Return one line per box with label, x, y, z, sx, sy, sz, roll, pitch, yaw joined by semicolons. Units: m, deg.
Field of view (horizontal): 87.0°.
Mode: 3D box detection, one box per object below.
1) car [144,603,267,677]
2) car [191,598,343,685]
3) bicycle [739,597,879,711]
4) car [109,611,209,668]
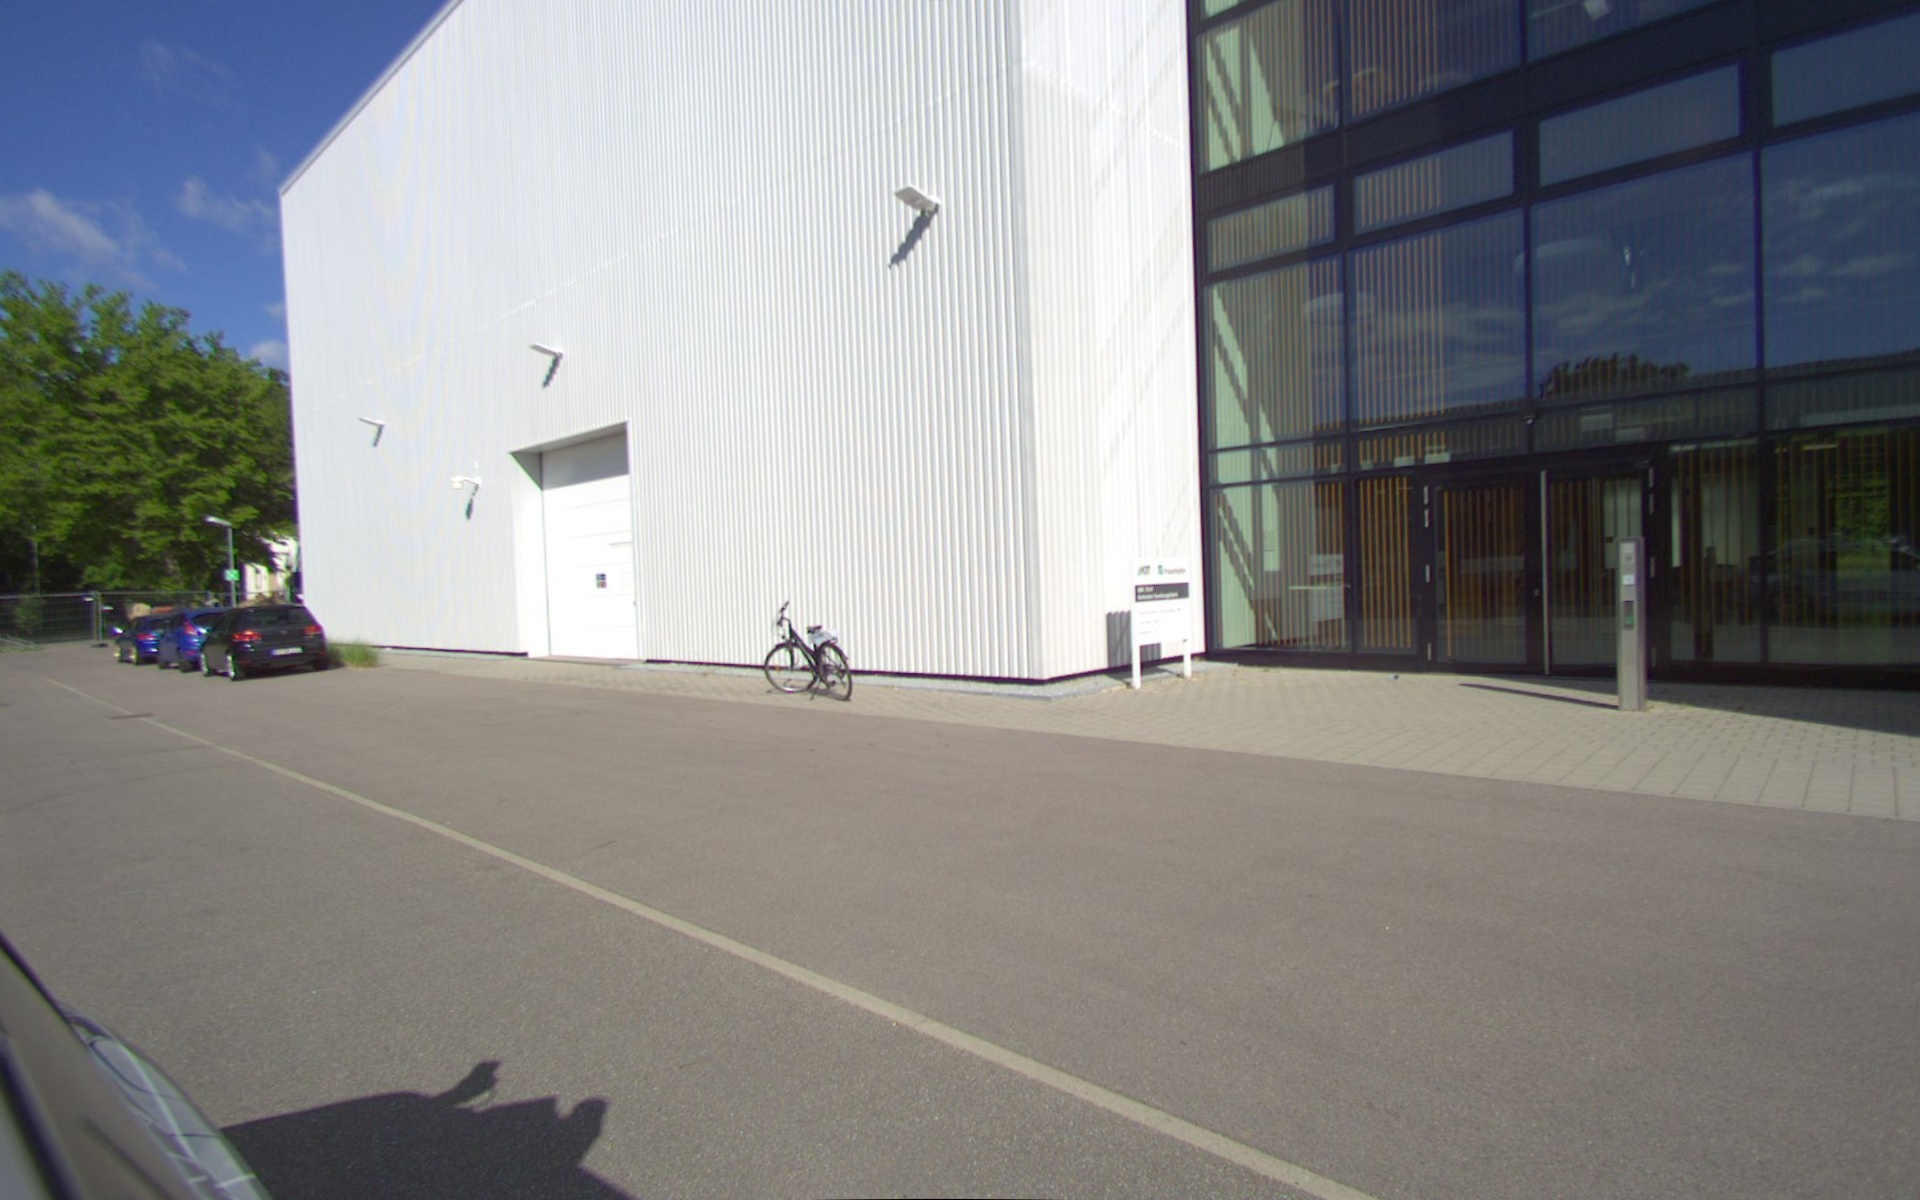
car;-18.733;0.947;25.072;4.002;1.533;1.766;-1;4;45
car;-14.821;0.829;21.571;4.002;1.533;1.870;-1;4;45
bicycle;-1.853;0.590;12.158;0.895;1.151;1.905;-6;4;-32
car;-22.811;1.086;28.763;4.002;1.451;1.765;-1;0;45
